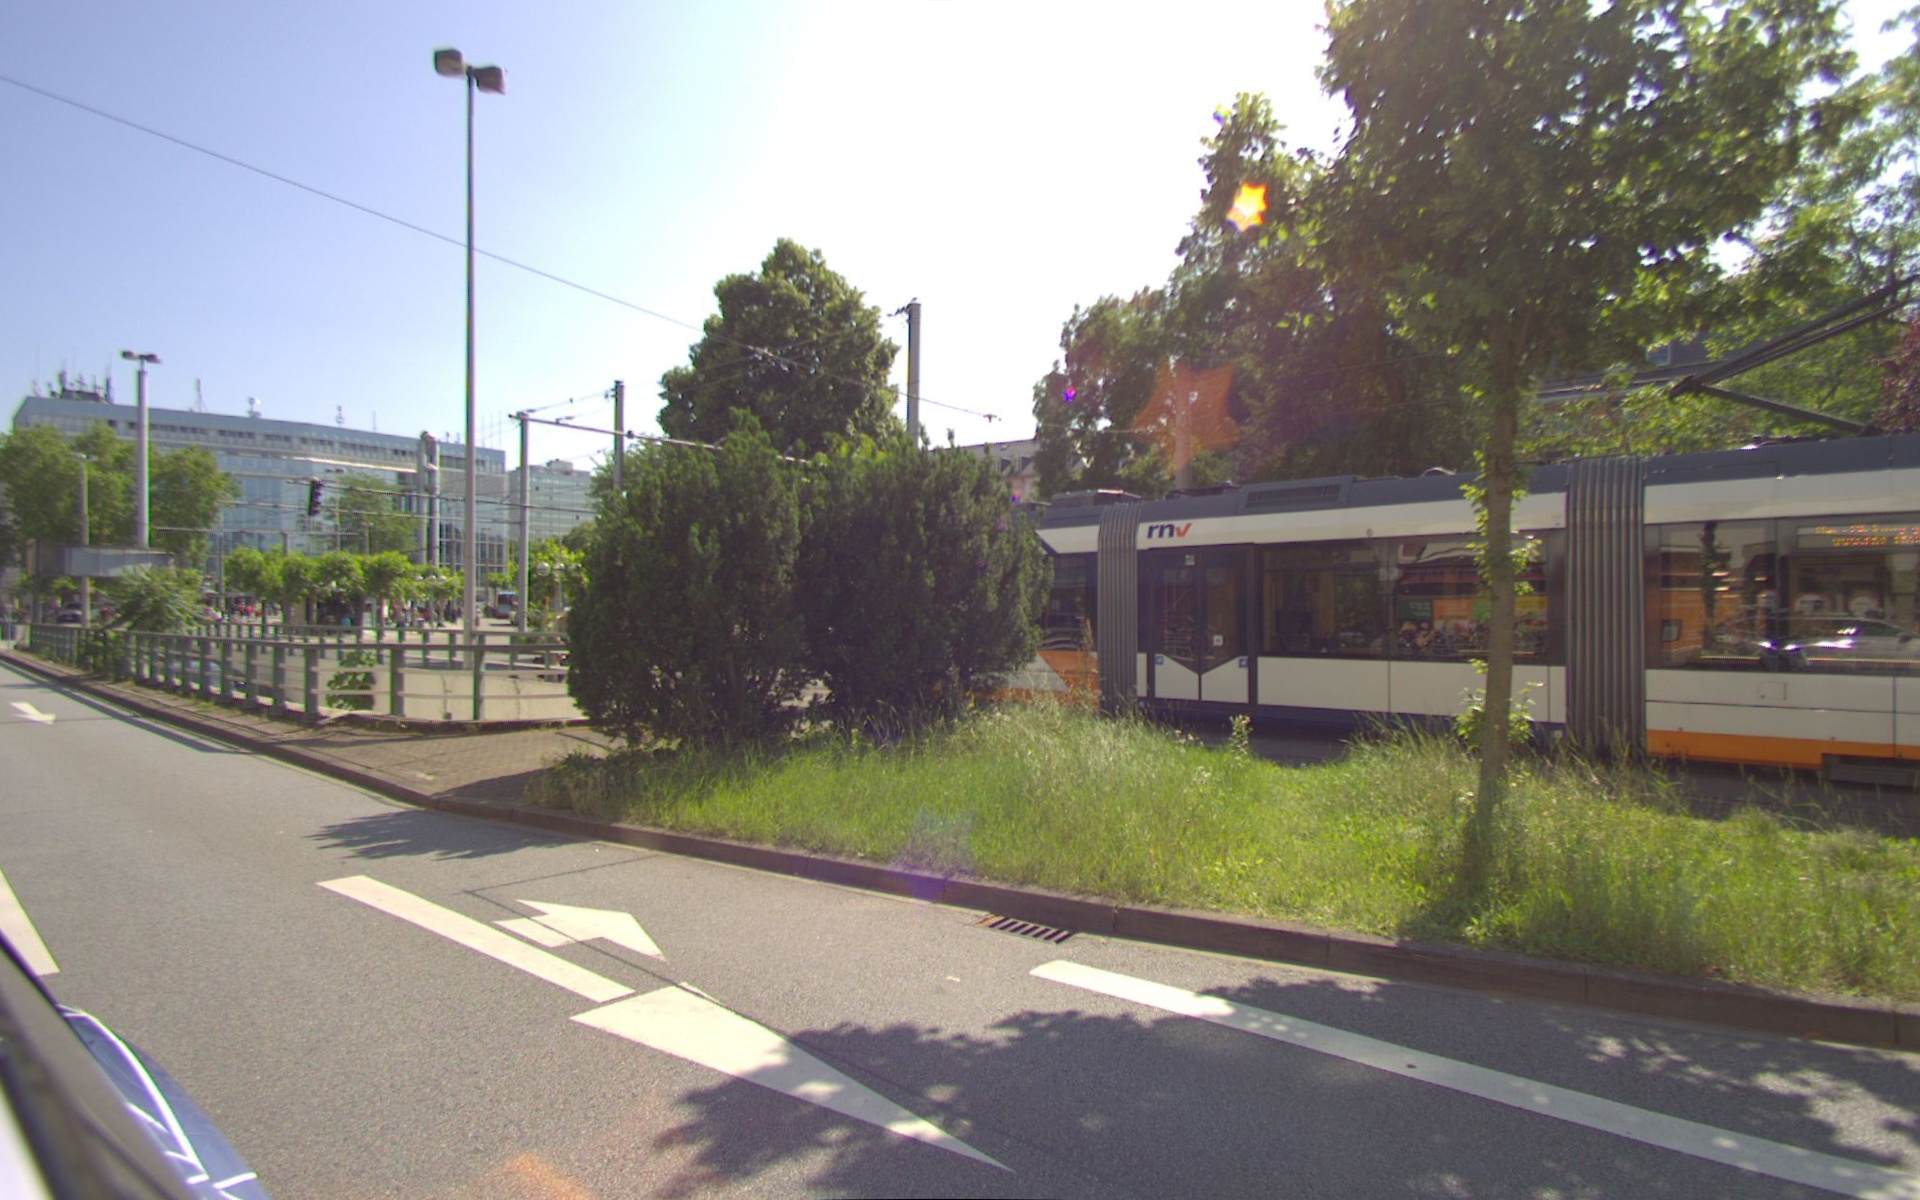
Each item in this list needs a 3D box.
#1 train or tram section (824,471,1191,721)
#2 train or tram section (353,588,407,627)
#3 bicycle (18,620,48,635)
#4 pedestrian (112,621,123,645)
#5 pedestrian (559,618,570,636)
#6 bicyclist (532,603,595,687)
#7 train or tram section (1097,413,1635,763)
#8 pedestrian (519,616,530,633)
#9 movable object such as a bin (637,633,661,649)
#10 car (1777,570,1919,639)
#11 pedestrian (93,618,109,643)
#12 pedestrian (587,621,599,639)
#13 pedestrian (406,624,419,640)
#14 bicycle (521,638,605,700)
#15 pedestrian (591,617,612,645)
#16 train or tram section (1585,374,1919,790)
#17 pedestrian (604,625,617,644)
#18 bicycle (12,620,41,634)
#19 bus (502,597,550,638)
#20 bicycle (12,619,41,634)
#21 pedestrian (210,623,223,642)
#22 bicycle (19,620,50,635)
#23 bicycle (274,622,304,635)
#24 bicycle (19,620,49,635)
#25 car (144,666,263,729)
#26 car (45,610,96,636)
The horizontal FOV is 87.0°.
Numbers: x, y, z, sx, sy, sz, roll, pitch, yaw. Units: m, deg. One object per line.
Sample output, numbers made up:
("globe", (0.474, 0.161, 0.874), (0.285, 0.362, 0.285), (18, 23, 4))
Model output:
("train or tram section", (0.636, -0.101, 17.618), (6.103, 3.607, 2.586), (0, 2, 43))
("train or tram section", (-63.163, 0.701, 110.460), (2.578, 3.855, 9.546), (-2, 2, -14))
("bicycle", (-75.409, 2.204, 82.352), (0.482, 1.156, 1.734), (0, 0, 40))
("pedestrian", (-57.745, 2.240, 69.354), (0.518, 1.621, 0.627), (3, -3, -38))
("pedestrian", (-34.105, 2.335, 87.338), (0.680, 1.477, 0.617), (-1, -3, 40))
("bicyclist", (-7.963, 0.909, 20.330), (0.902, 1.634, 0.808), (-1, -4, 43))
("train or tram section", (5.124, -0.137, 13.486), (6.103, 3.608, 2.585), (-1, 1, 43))
("pedestrian", (-38.038, 2.160, 88.405), (0.585, 1.477, 0.521), (0, -3, 23))
("movable object such as a bin", (-15.612, 2.051, 50.807), (0.800, 0.760, 0.897), (-1, -3, 43))
("car", (44.924, 0.189, 51.290), (5.419, 3.341, 2.104), (0, 2, 42))
("pedestrian", (-58.374, 2.077, 68.805), (0.582, 1.747, 0.524), (0, -2, 13))
("pedestrian", (-31.093, 2.538, 85.707), (0.679, 1.477, 0.617), (-1, -3, 38))
("pedestrian", (-36.284, 2.123, 67.071), (0.627, 1.008, 0.580), (3, -3, -45))
("bicycle", (-7.981, 1.367, 20.308), (1.874, 1.129, 0.808), (0, -2, 43))
("pedestrian", (-23.818, 2.079, 67.169), (0.952, 1.807, 1.082), (3, -3, -38))
("train or tram section", (9.324, -0.196, 9.610), (5.356, 3.608, 2.585), (-1, 1, 43))
("pedestrian", (-23.602, 2.318, 68.313), (0.613, 1.273, 0.583), (3, -3, -38))
("bicycle", (-77.534, 2.242, 84.028), (0.482, 1.156, 1.734), (0, 0, 40))
("bus", (-41.737, 1.544, 97.032), (3.014, 3.445, 12.500), (-2, 2, -28))
("bicycle", (-78.762, 2.233, 85.380), (0.482, 1.156, 1.734), (0, 0, 40))
("pedestrian", (-58.615, 2.562, 79.791), (0.549, 1.477, 0.621), (0, -3, 20))
("bicycle", (-75.890, 2.237, 82.999), (0.482, 1.156, 1.841), (0, 0, 40))
("bicycle", (-49.809, 2.133, 75.133), (0.544, 0.862, 1.852), (0, 2, 29))
("bicycle", (-75.038, 2.195, 82.022), (0.482, 1.156, 1.734), (0, 0, 40))
("car", (-20.409, 2.577, 27.253), (3.998, 1.415, 1.677), (0, -4, 41))
("car", (-76.669, 1.933, 87.268), (1.965, 2.028, 5.084), (-2, 2, -26))
